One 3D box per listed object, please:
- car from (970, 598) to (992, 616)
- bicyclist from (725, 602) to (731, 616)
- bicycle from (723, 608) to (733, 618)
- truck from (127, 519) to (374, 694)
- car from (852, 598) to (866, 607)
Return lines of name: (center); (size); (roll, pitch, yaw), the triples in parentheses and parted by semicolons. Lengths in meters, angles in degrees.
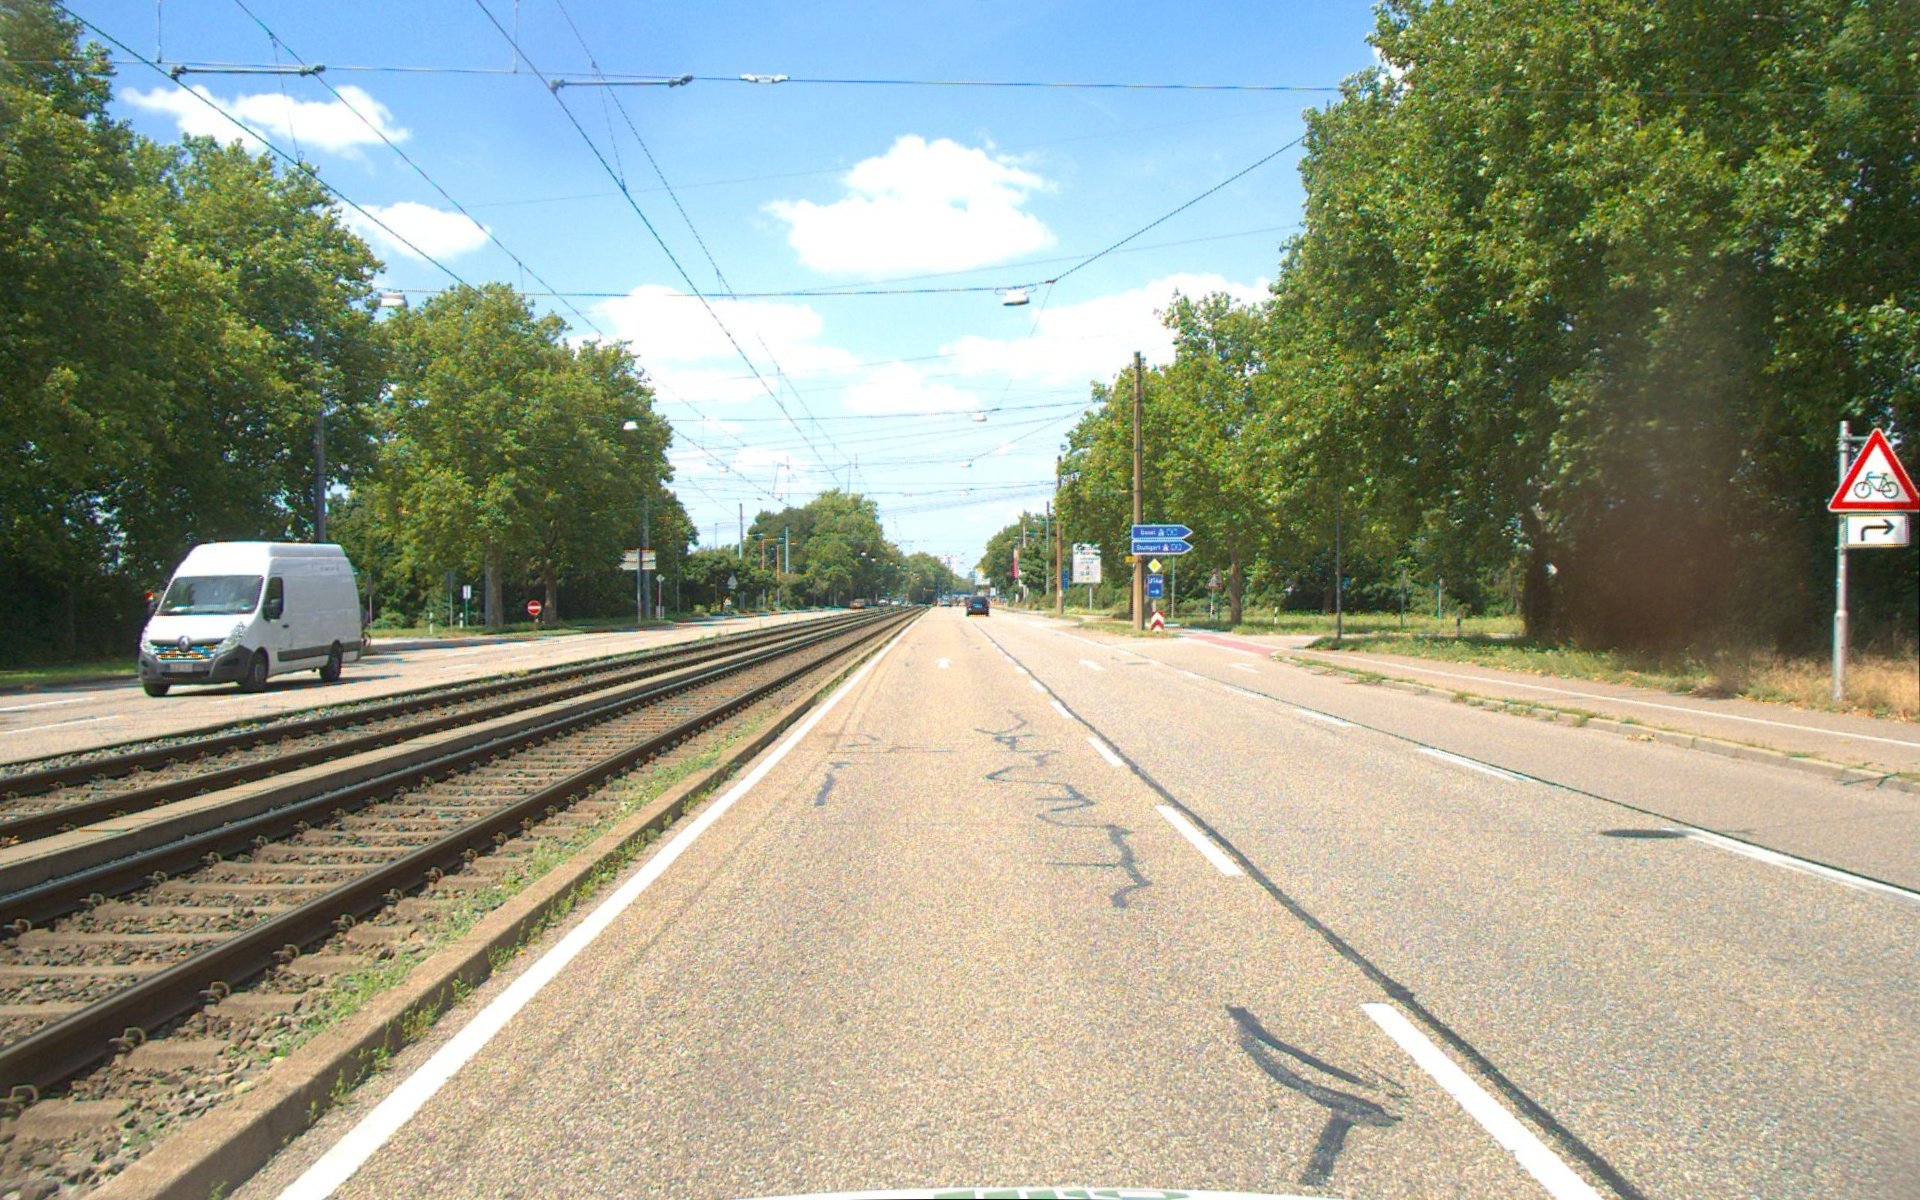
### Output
car: (1.597, 0.527, 129.013); (1.554, 1.366, 3.271); (-1, 1, -2)
bicyclist: (-20.778, 0.804, 148.305); (0.444, 1.295, 0.398); (0, 0, 2)
bicycle: (-20.795, 1.169, 148.235); (0.505, 0.872, 1.932); (-1, 0, 2)
truck: (-13.441, 0.105, 31.876); (2.012, 2.990, 6.318); (-2, 0, -1)
car: (-15.487, 0.427, 254.510); (1.836, 1.355, 3.917); (-2, 0, 0)
